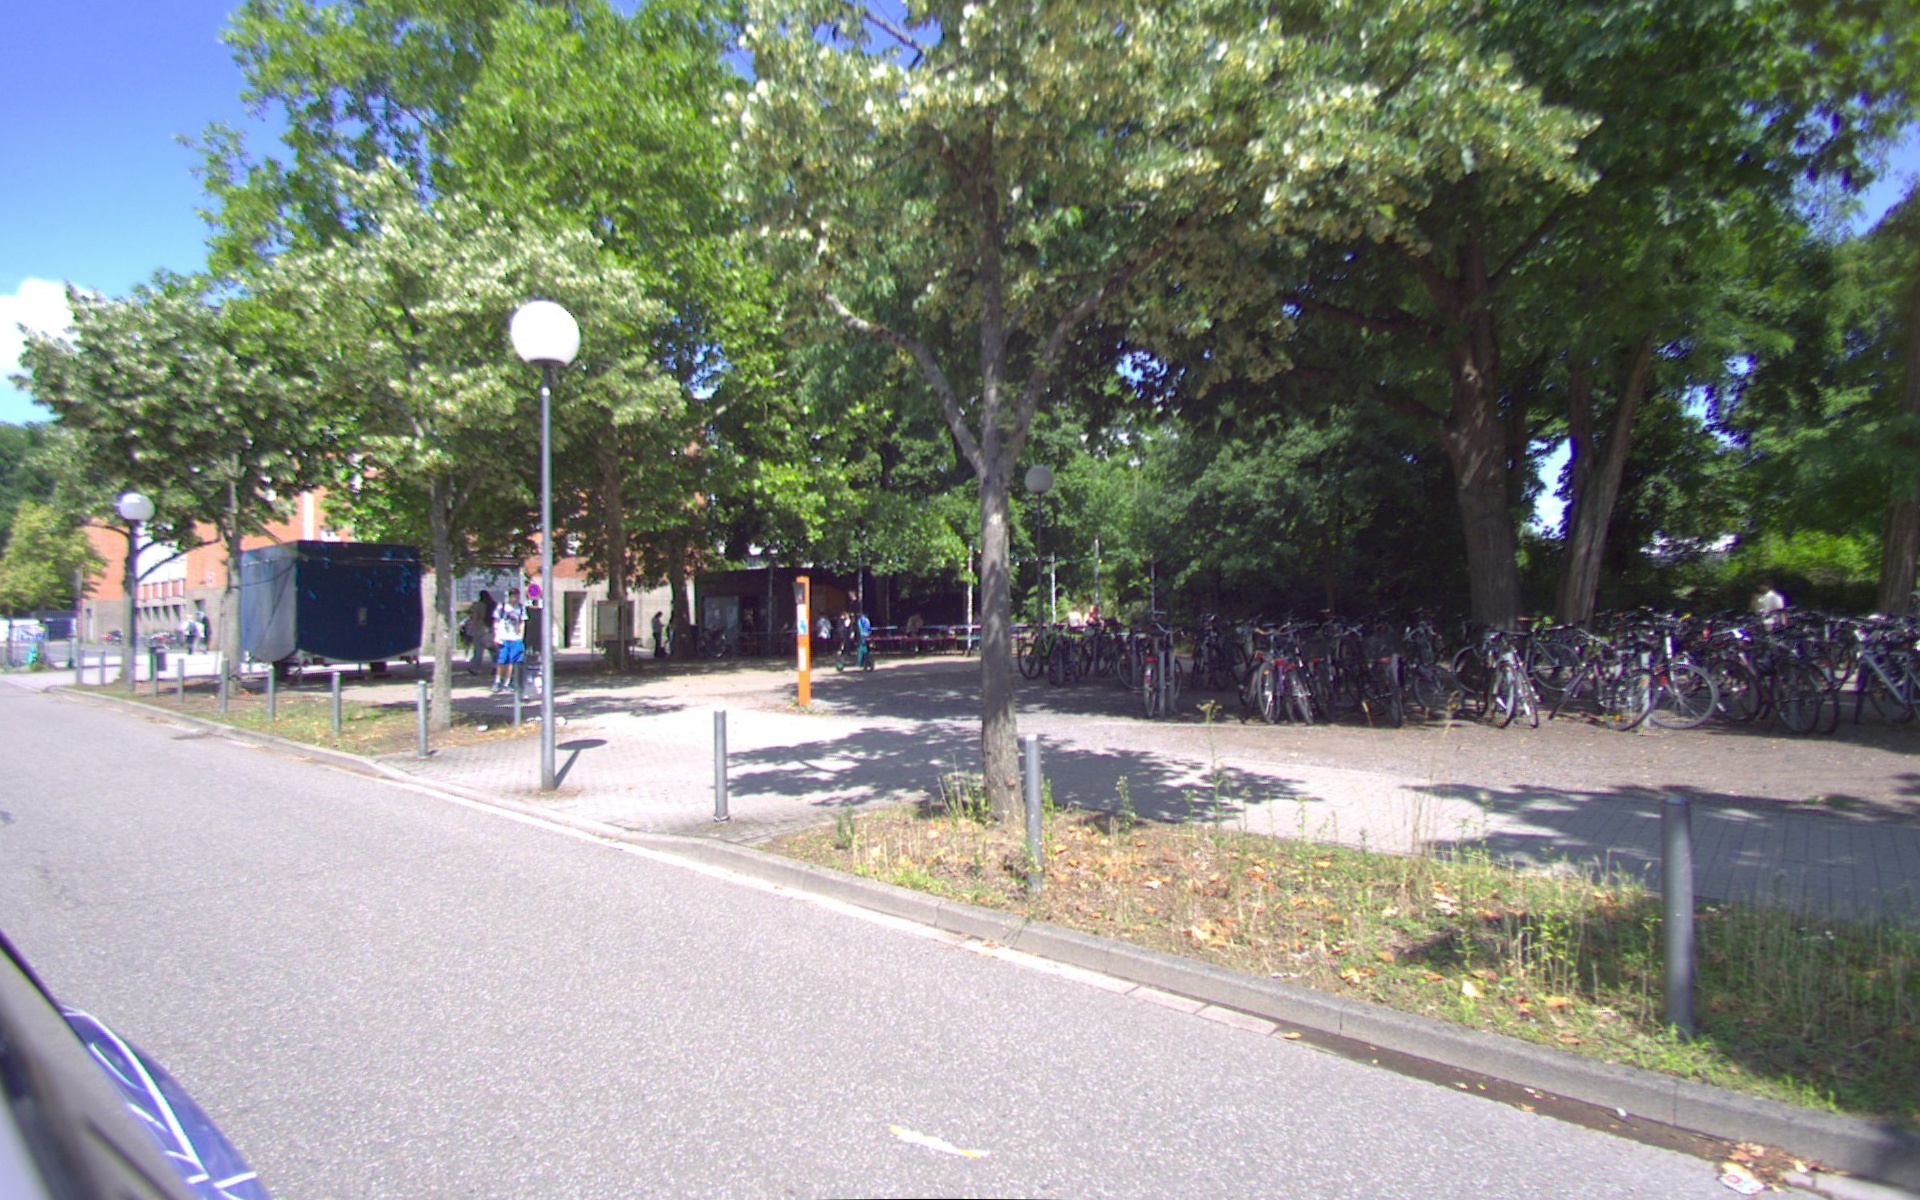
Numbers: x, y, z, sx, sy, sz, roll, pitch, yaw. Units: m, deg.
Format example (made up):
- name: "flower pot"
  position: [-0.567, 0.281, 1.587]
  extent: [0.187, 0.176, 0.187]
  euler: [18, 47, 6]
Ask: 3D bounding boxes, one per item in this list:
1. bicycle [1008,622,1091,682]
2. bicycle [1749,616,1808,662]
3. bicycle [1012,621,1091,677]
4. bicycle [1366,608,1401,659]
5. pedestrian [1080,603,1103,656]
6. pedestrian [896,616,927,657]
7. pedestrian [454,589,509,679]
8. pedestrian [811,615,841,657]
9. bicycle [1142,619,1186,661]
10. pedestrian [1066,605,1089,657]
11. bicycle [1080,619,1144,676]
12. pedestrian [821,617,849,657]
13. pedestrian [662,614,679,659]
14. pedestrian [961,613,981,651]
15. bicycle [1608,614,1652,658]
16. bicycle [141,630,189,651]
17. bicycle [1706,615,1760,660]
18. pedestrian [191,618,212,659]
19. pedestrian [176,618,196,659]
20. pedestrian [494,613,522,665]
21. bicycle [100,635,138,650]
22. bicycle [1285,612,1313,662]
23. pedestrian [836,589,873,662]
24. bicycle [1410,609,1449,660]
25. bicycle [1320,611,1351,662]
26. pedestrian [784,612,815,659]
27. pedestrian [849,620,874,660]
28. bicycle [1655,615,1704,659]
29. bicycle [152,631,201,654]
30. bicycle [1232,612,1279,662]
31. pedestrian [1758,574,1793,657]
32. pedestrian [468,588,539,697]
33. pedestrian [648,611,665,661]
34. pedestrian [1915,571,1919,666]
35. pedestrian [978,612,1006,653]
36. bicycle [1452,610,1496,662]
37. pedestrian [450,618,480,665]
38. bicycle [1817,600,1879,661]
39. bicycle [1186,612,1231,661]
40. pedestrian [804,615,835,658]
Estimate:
- name: "bicycle"
  position: [1.691, 0.942, 18.894]
  extent: [0.537, 1.022, 1.783]
  euler: [-2, -1, 43]
- name: "bicycle"
  position: [17.313, 0.804, 21.435]
  extent: [0.416, 0.900, 1.755]
  euler: [-2, -1, 21]
- name: "bicycle"
  position: [1.832, 0.953, 20.049]
  extent: [0.537, 1.022, 1.782]
  euler: [-2, -1, 44]
- name: "bicycle"
  position: [9.832, 0.753, 23.550]
  extent: [0.592, 1.099, 1.946]
  euler: [0, 0, 19]
- name: "pedestrian"
  position: [3.854, 0.849, 29.581]
  extent: [0.472, 1.534, 0.502]
  euler: [-2, -1, 30]
- name: "pedestrian"
  position: [-1.516, 1.136, 31.489]
  extent: [0.764, 1.260, 0.564]
  euler: [-2, -1, 30]
- name: "pedestrian"
  position: [-10.896, 0.745, 23.040]
  extent: [0.906, 1.969, 0.894]
  euler: [-2, 1, -39]
- name: "pedestrian"
  position: [-4.079, 1.095, 30.807]
  extent: [0.734, 1.243, 0.594]
  euler: [-3, -1, 7]
- name: "bicycle"
  position: [4.993, 0.967, 24.728]
  extent: [0.544, 0.949, 1.866]
  euler: [0, 0, 28]
- name: "pedestrian"
  position: [3.320, 0.868, 28.641]
  extent: [0.459, 1.433, 0.501]
  euler: [-2, -1, 31]
- name: "bicycle"
  position: [2.963, 0.898, 19.584]
  extent: [0.535, 1.011, 1.947]
  euler: [-2, -1, 30]
- name: "pedestrian"
  position: [-4.112, 1.203, 33.247]
  extent: [0.693, 1.281, 0.554]
  euler: [-2, -1, 42]
- name: "pedestrian"
  position: [-10.472, 1.309, 36.577]
  extent: [0.407, 1.605, 0.606]
  euler: [-2, 0, -1]
- name: "pedestrian"
  position: [0.341, 0.987, 31.213]
  extent: [0.505, 1.148, 0.333]
  euler: [-2, -1, 31]
- name: "bicycle"
  position: [14.628, 0.763, 22.126]
  extent: [0.416, 0.900, 1.755]
  euler: [-2, -1, 21]
- name: "bicycle"
  position: [-43.580, 2.214, 55.481]
  extent: [0.592, 1.134, 2.000]
  euler: [-2, -2, 42]
- name: "bicycle"
  position: [16.555, 0.791, 21.710]
  extent: [0.416, 0.900, 1.755]
  euler: [-2, -1, 21]
- name: "pedestrian"
  position: [-33.731, 1.696, 45.021]
  extent: [0.917, 1.793, 0.570]
  euler: [-1, -1, 41]
- name: "pedestrian"
  position: [-34.071, 1.691, 44.553]
  extent: [0.805, 1.775, 0.557]
  euler: [-1, -1, 41]
- name: "pedestrian"
  position: [-15.003, 1.281, 33.615]
  extent: [0.643, 1.678, 0.623]
  euler: [-2, -1, 42]
- name: "bicycle"
  position: [-57.614, 2.904, 69.349]
  extent: [0.541, 1.038, 1.930]
  euler: [-2, -2, 40]
- name: "bicycle"
  position: [7.925, 0.848, 23.698]
  extent: [0.592, 1.099, 1.946]
  euler: [0, 0, 19]
- name: "pedestrian"
  position: [-2.751, 0.670, 26.297]
  extent: [0.805, 1.862, 0.524]
  euler: [-2, -1, 42]
- name: "bicycle"
  position: [10.660, 0.755, 23.035]
  extent: [0.592, 1.099, 1.946]
  euler: [0, 0, 19]
- name: "bicycle"
  position: [8.642, 0.806, 23.344]
  extent: [0.592, 1.099, 1.946]
  euler: [0, 0, 19]
- name: "pedestrian"
  position: [-4.866, 1.059, 30.661]
  extent: [0.734, 1.379, 0.594]
  euler: [-3, -1, 7]
- name: "pedestrian"
  position: [-3.327, 1.351, 34.109]
  extent: [0.559, 1.333, 0.638]
  euler: [-2, -2, 43]
- name: "bicycle"
  position: [15.578, 0.788, 21.931]
  extent: [0.416, 0.900, 1.755]
  euler: [-2, -1, 21]
- name: "bicycle"
  position: [-42.010, 2.267, 54.277]
  extent: [0.666, 1.134, 2.001]
  euler: [-2, -2, 40]
- name: "bicycle"
  position: [6.841, 0.838, 23.537]
  extent: [0.589, 1.099, 1.957]
  euler: [0, 0, 2]
- name: "pedestrian"
  position: [16.164, 0.311, 20.063]
  extent: [0.345, 1.626, 0.462]
  euler: [-1, -1, -42]
- name: "pedestrian"
  position: [-8.015, 0.729, 17.769]
  extent: [0.986, 1.844, 0.791]
  euler: [-2, -1, 42]
- name: "pedestrian"
  position: [-10.783, 1.270, 35.968]
  extent: [0.441, 1.723, 0.531]
  euler: [-2, 0, -3]
- name: "pedestrian"
  position: [17.455, 0.323, 17.853]
  extent: [0.623, 1.683, 0.576]
  euler: [-1, -1, 6]
- name: "pedestrian"
  position: [0.973, 0.993, 30.932]
  extent: [0.728, 1.203, 0.388]
  euler: [-2, -1, 32]
- name: "bicycle"
  position: [11.520, 0.787, 22.738]
  extent: [0.592, 1.099, 1.946]
  euler: [0, 0, 19]
- name: "pedestrian"
  position: [-16.366, 1.364, 33.480]
  extent: [0.499, 1.521, 0.735]
  euler: [-2, -1, 42]
- name: "bicycle"
  position: [18.432, 0.613, 21.033]
  extent: [0.421, 1.216, 1.782]
  euler: [-2, -1, 24]
- name: "bicycle"
  position: [6.003, 0.860, 24.359]
  extent: [0.594, 1.099, 1.939]
  euler: [0, 0, 28]
- name: "pedestrian"
  position: [-4.199, 1.093, 30.196]
  extent: [0.734, 1.243, 0.594]
  euler: [-3, -1, 7]
